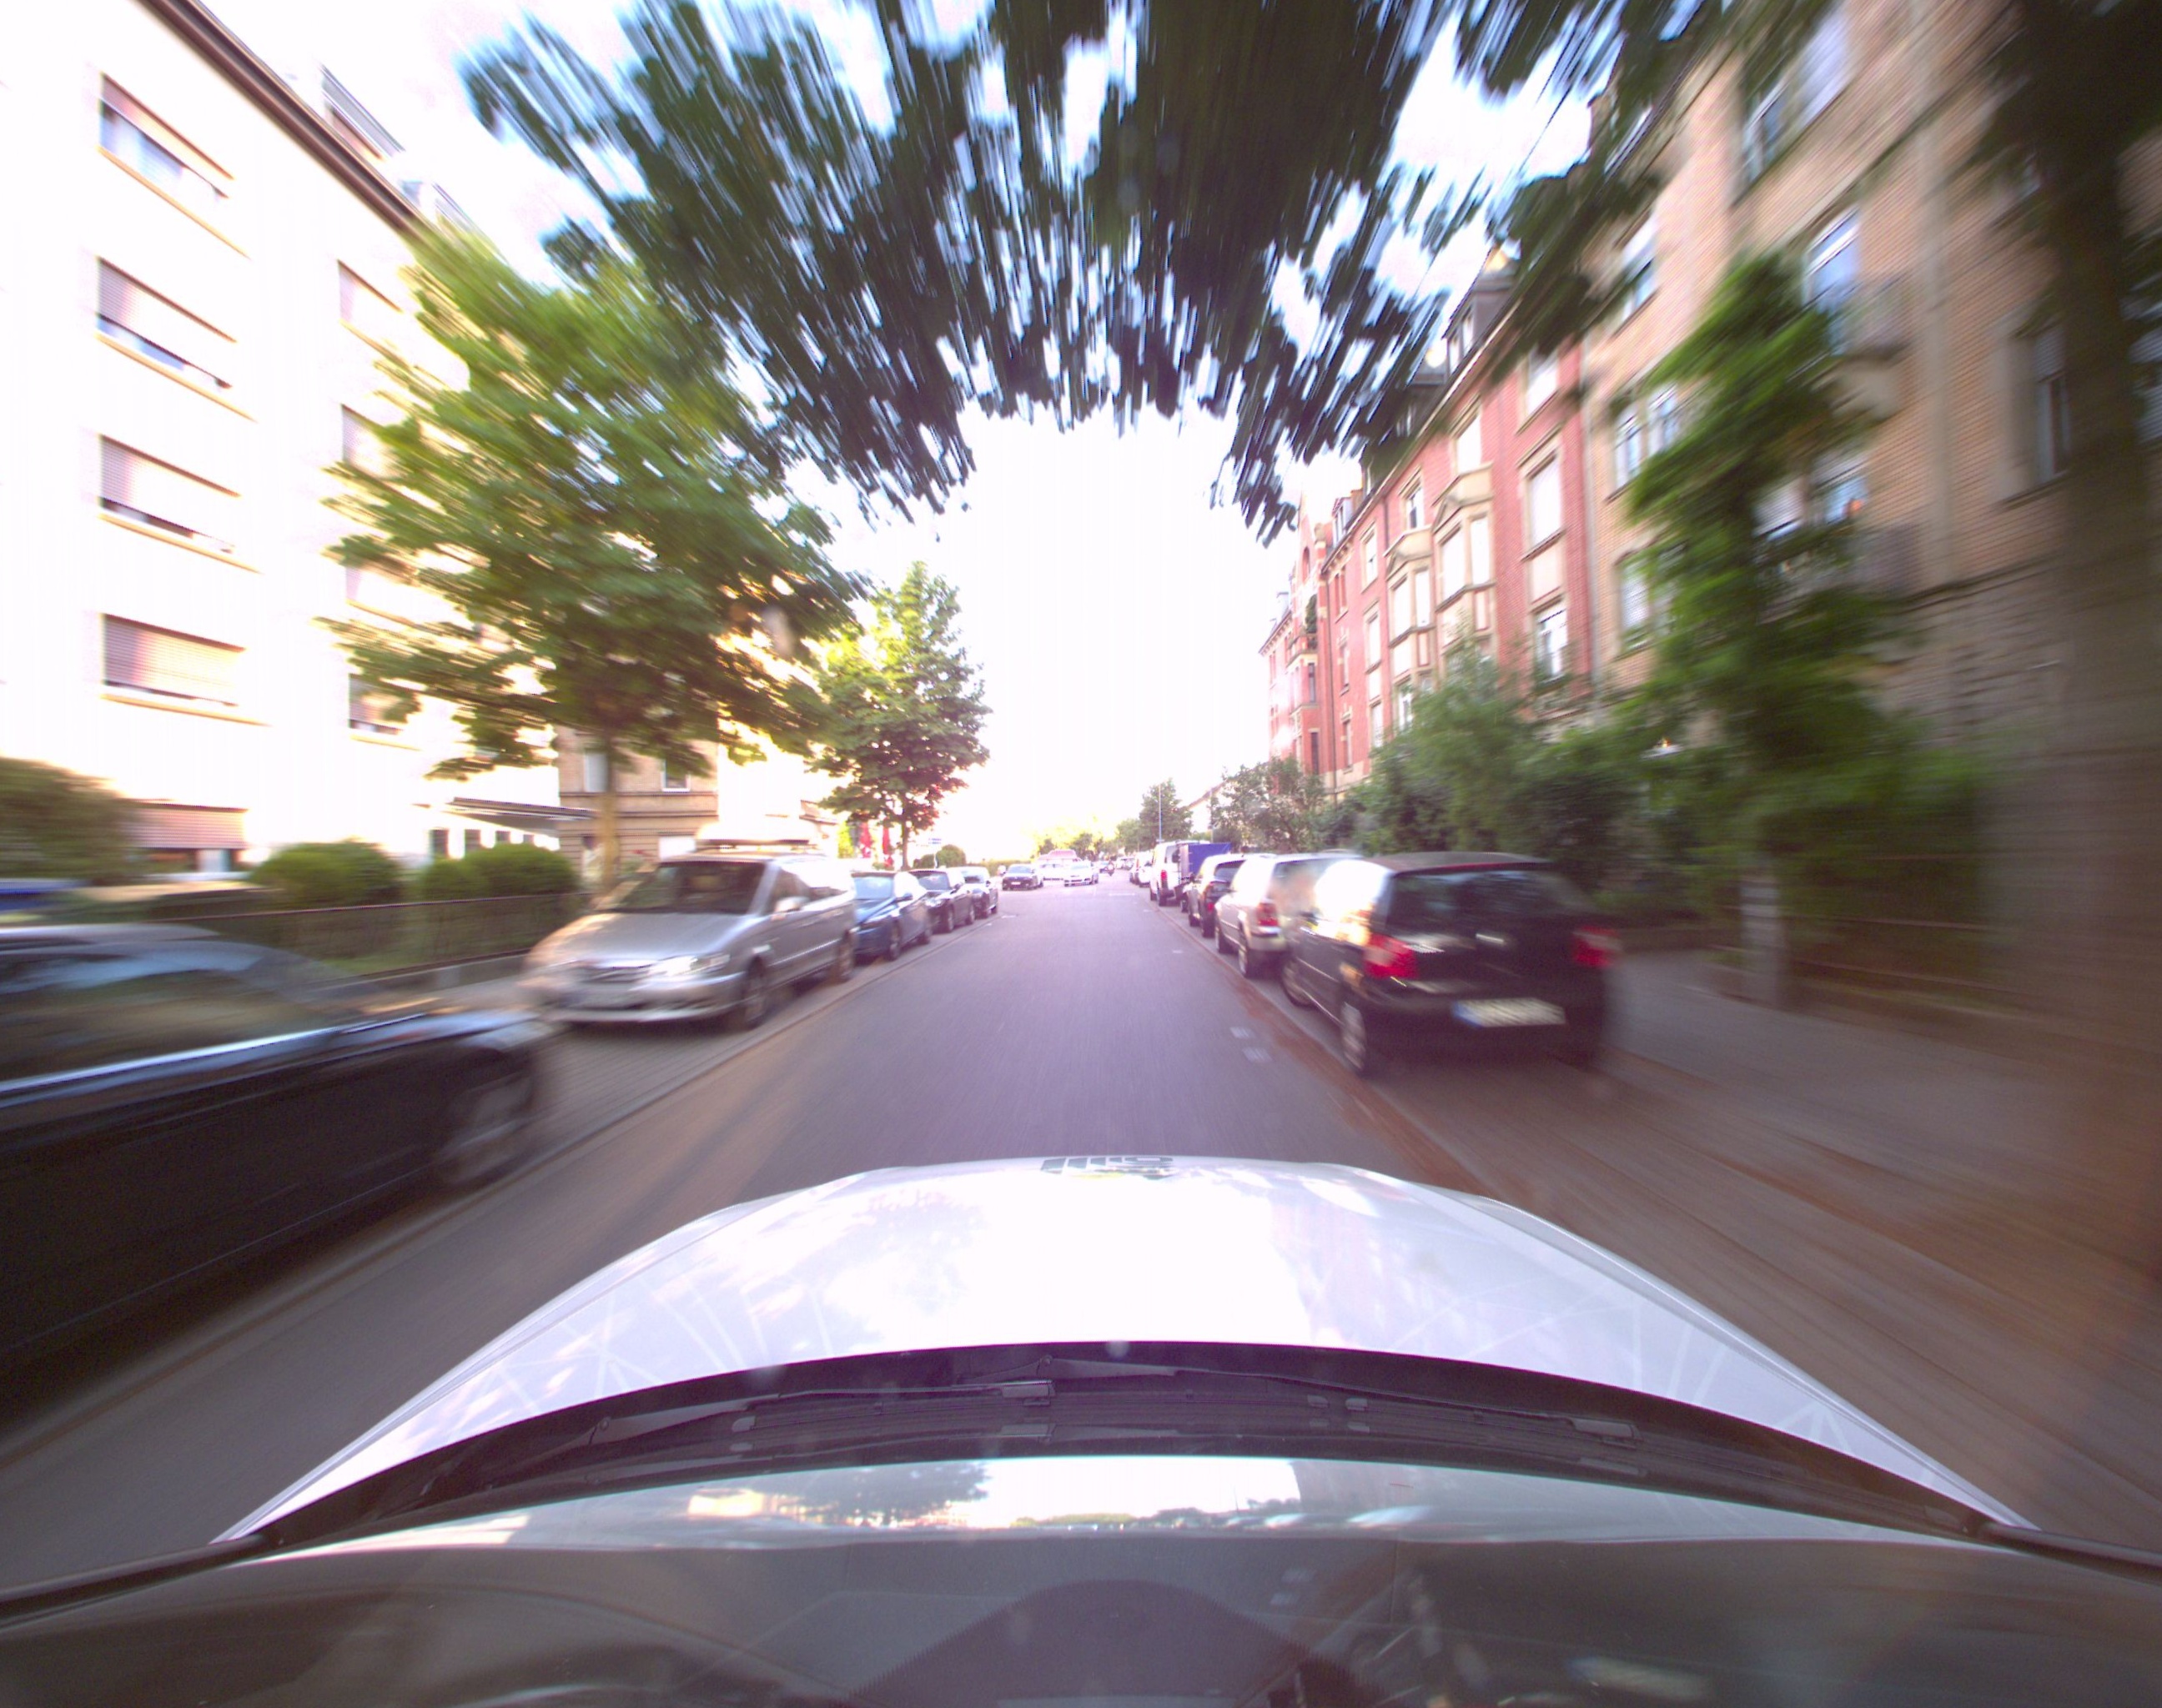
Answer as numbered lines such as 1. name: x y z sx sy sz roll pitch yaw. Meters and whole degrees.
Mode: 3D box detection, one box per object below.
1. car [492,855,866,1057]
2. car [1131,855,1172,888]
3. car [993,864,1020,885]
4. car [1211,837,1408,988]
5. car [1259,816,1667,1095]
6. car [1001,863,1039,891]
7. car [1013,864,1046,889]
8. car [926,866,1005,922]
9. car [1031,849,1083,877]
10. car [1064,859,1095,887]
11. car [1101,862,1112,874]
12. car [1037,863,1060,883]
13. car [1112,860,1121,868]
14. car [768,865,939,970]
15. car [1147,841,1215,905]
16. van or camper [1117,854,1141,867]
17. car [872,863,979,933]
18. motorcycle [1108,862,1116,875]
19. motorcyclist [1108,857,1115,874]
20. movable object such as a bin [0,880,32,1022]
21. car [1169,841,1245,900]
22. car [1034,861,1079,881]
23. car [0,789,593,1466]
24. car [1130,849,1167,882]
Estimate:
1. car: -3.877 0.841 8.896 1.709 1.596 4.520 -2 0 1
2. car: 3.660 0.913 42.777 1.682 1.606 3.938 -2 -1 -1
3. car: -5.522 1.482 60.632 1.711 1.441 3.628 -2 0 -2
4. car: 2.807 0.658 10.865 1.680 1.606 3.943 -2 -1 3
5. car: 2.684 0.625 6.791 1.680 1.606 3.942 -2 -1 3
6. car: -3.477 1.283 46.609 1.709 1.486 3.632 -2 -1 2
7. car: -3.253 1.435 51.992 1.709 1.441 3.633 -2 0 2
8. car: -3.335 1.120 24.179 1.593 1.441 3.840 -2 0 2
9. car: -2.017 0.758 69.529 4.336 2.318 1.745 -2 0 -1
10. car: -0.047 1.162 51.309 1.806 1.596 3.484 -2 0 1
11. car: 3.422 1.916 111.172 1.427 1.596 3.484 -2 0 1
12. car: -2.521 1.433 63.822 1.711 1.441 3.628 -2 0 -2
13. car: 7.149 2.058 166.101 1.709 1.596 3.484 -2 0 1
14. car: -3.729 0.973 14.097 1.709 1.465 3.988 -2 0 1
15. car: 3.243 0.606 27.000 1.675 1.941 3.878 -2 -1 -1
16. van or camper: 11.284 1.523 191.708 5.263 2.791 1.547 -2 0 -10
17. car: -3.591 0.970 19.420 1.709 1.441 3.632 -2 0 1
18. motorcycle: 3.137 1.451 82.957 0.739 1.251 3.379 -2 1 2
19. motorcyclist: 3.109 1.167 82.815 0.699 1.630 0.822 -2 -1 1
20. movable object such as a bin: -10.815 0.940 7.762 0.730 1.362 0.707 1 0 8
21. car: 3.516 0.456 23.238 1.534 1.521 3.430 -2 -1 -1
22. car: -2.029 1.391 66.859 3.610 1.461 1.605 -2 0 -3
23. car: -3.719 0.745 2.554 1.709 1.790 4.217 -2 0 1
24. car: 3.907 0.681 47.658 1.682 1.811 3.938 -2 -1 -1
